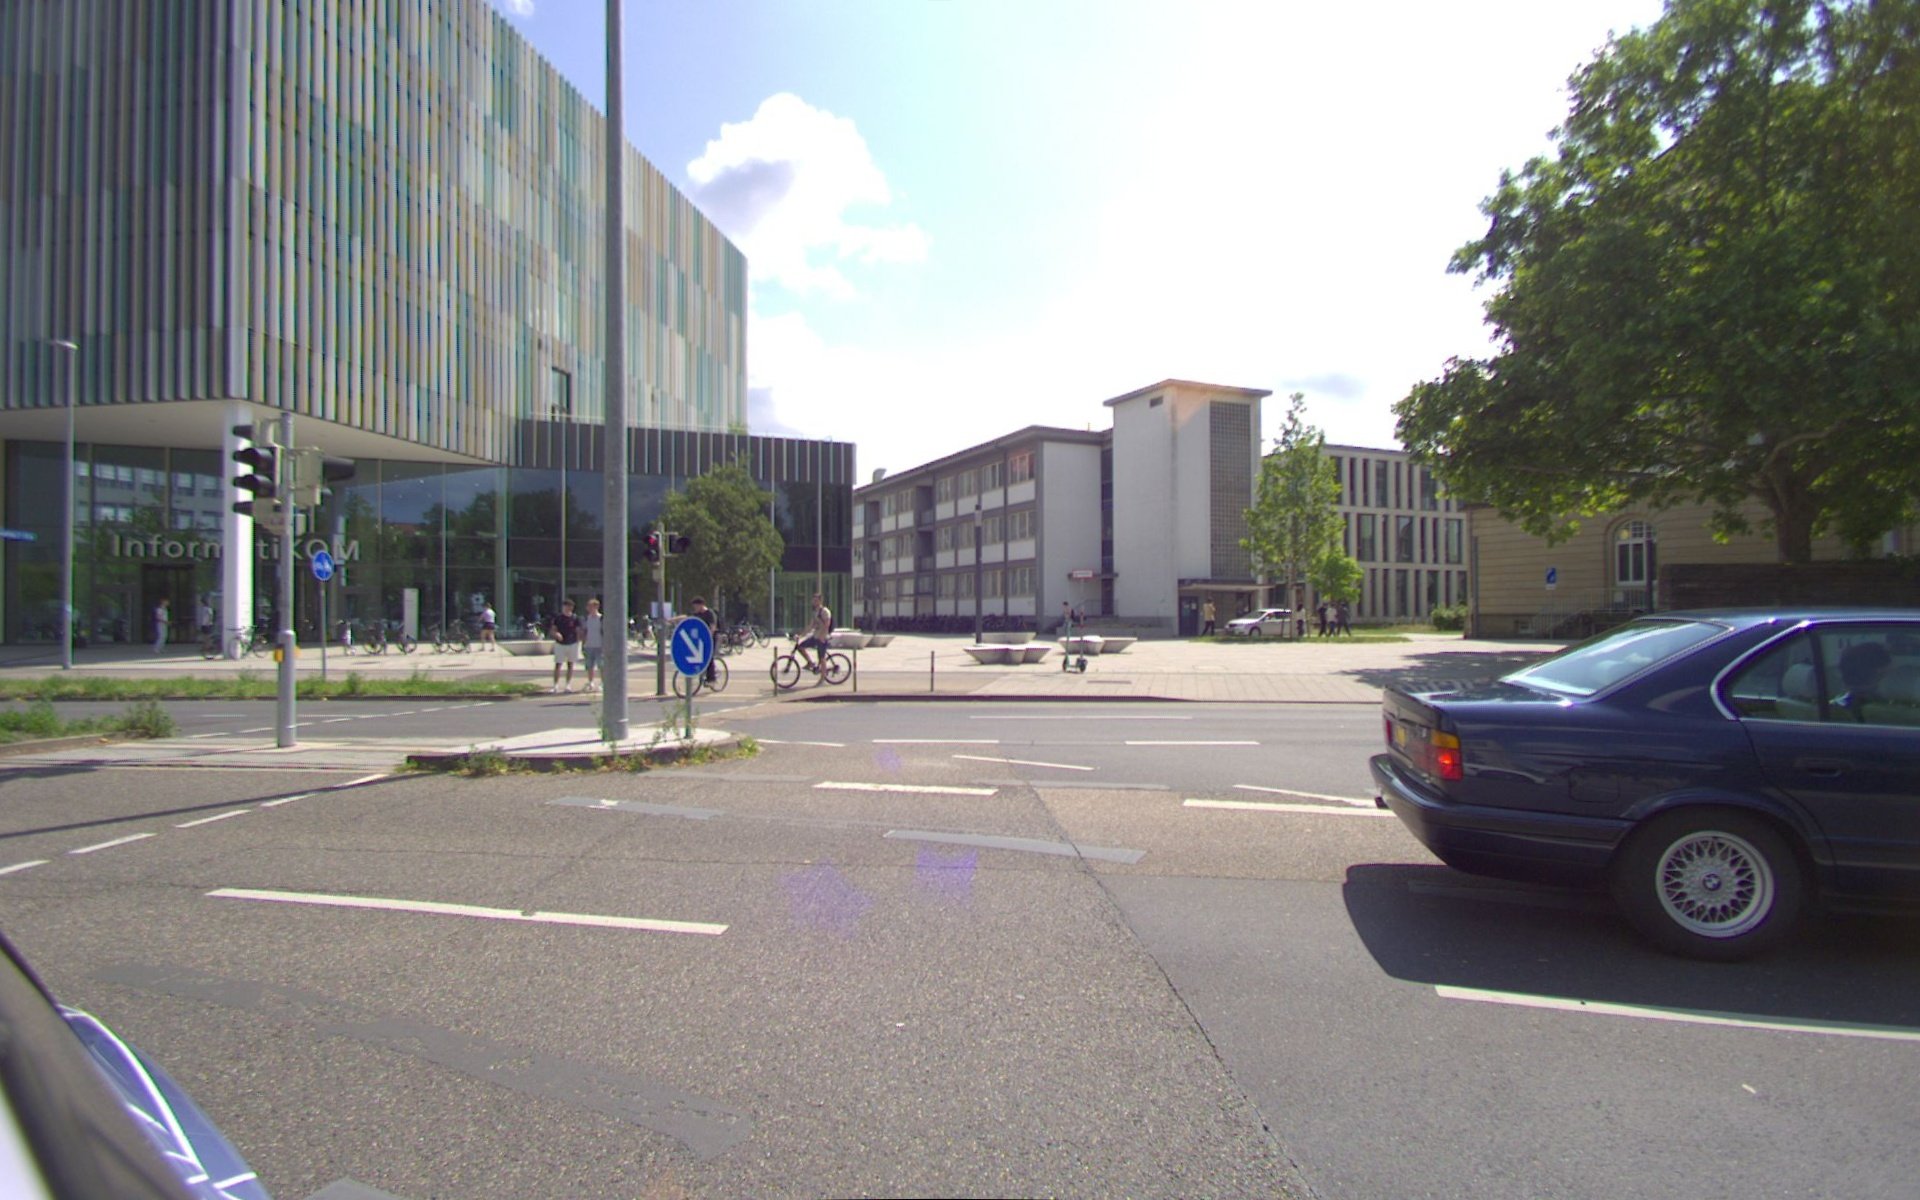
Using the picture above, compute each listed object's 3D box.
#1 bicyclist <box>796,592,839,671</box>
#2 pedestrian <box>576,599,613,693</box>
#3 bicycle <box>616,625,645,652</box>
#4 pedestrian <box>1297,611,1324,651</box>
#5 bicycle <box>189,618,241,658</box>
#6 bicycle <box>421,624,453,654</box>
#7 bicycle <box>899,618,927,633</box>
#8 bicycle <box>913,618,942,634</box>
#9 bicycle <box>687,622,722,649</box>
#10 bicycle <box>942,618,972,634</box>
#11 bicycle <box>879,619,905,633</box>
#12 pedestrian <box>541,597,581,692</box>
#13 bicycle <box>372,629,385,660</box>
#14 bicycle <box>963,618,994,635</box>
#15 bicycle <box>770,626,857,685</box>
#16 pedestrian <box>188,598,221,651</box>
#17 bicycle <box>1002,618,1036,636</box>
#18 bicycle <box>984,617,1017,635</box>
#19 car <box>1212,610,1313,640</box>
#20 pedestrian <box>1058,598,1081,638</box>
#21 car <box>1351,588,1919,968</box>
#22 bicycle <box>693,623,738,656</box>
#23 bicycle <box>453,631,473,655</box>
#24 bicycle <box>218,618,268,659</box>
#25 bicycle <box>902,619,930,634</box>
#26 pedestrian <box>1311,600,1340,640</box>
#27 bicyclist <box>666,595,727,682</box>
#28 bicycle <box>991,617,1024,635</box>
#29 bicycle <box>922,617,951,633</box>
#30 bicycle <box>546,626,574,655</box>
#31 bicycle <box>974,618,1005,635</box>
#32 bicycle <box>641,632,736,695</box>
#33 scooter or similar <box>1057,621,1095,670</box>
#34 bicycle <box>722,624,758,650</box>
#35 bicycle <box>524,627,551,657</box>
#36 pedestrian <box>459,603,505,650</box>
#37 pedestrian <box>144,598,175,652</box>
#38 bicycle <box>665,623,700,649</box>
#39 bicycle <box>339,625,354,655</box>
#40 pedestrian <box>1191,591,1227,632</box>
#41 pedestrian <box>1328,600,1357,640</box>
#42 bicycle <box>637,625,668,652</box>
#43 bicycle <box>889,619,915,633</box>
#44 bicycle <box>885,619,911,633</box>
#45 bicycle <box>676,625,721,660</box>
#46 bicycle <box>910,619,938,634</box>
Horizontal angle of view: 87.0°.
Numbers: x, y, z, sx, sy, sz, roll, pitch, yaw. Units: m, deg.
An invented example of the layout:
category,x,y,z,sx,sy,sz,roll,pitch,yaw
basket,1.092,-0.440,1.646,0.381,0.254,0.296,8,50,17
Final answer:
category,x,y,z,sx,sy,sz,roll,pitch,yaw
bicyclist,-2.893,0.627,20.469,0.772,1.550,0.659,0,-1,-16
pedestrian,-7.253,0.905,20.082,0.568,1.856,0.415,0,0,4
bicycle,-12.450,1.458,38.229,0.520,0.962,1.777,0,0,-37
pedestrian,16.335,1.440,47.150,0.829,1.803,0.817,0,-1,-21
bicycle,-23.538,1.190,32.020,0.369,1.196,1.543,1,0,7
bicycle,-17.978,1.327,34.828,0.520,0.962,1.777,0,0,-11
bicycle,-3.147,1.716,67.868,1.743,0.962,0.531,0,1,-19
bicycle,-2.091,1.658,64.961,1.743,0.962,0.531,0,1,-19
bicycle,-9.803,1.344,38.769,0.521,0.962,1.775,0,0,-43
bicycle,-0.196,1.583,61.585,1.743,0.962,0.531,0,1,-19
bicycle,-4.771,1.816,71.275,1.743,0.962,0.531,0,1,-19
pedestrian,-7.844,0.863,19.897,0.623,1.856,0.480,0,0,-5
bicycle,-19.635,1.484,34.194,0.367,0.962,1.779,0,0,-30
bicycle,1.115,1.538,59.587,1.743,0.962,0.531,0,1,-19
bicycle,-2.960,1.111,20.450,1.643,1.133,0.697,0,-1,-16
pedestrian,-26.926,0.865,36.071,0.672,1.856,0.687,0,0,16
bicycle,3.209,1.450,55.102,1.743,0.962,0.531,0,1,-17
bicycle,2.295,1.476,57.221,1.743,0.962,0.531,0,1,-19
car,14.750,1.191,49.336,4.416,1.316,2.007,-1,1,-23
pedestrian,5.043,0.832,46.692,0.829,1.803,0.679,0,-1,-21
car,4.260,0.647,4.404,4.570,1.397,1.689,-1,0,15
bicycle,-7.418,1.190,30.708,0.521,0.962,1.775,0,0,-43
bicycle,-17.210,1.480,35.061,0.520,0.770,1.779,0,0,-23
bicycle,-22.737,1.201,32.107,0.369,1.196,1.543,1,1,7
bicycle,-2.912,1.770,67.252,1.743,0.962,0.531,0,1,-19
pedestrian,16.774,0.913,46.428,0.829,1.803,0.895,0,-1,-21
bicyclist,-5.094,0.733,19.564,0.982,1.628,0.659,0,-1,-30
bicycle,2.647,1.437,56.294,1.743,0.962,0.531,0,1,-19
bicycle,-1.473,1.568,63.795,1.743,0.962,0.531,0,1,-19
bicycle,-14.517,1.452,36.667,0.520,0.962,1.778,-3,2,-34
bicycle,1.705,1.511,58.394,1.743,0.962,0.531,0,1,-19
bicycle,-5.215,1.195,19.474,1.642,1.133,0.697,0,-1,-30
scooter or similar,2.656,1.023,23.183,0.396,1.075,1.155,0,-1,-18
bicycle,-8.555,1.443,39.297,0.521,0.962,1.775,0,0,-43
bicycle,-15.073,1.480,36.091,0.520,0.962,1.778,0,0,-34
pedestrian,-16.990,0.944,36.012,1.004,1.663,1.179,-1,-1,9
pedestrian,-27.770,0.863,35.107,0.517,1.856,0.777,0,0,43
bicycle,-10.586,1.356,38.565,0.521,0.962,1.775,0,0,-43
bicycle,-20.348,1.310,33.582,0.367,0.962,1.551,0,0,-30
pedestrian,10.340,0.466,41.978,1.290,1.663,1.316,-1,-1,21
pedestrian,17.272,0.889,45.690,0.829,1.803,0.868,0,-1,-21
bicycle,-11.679,1.450,38.409,0.520,0.962,1.777,0,0,-37
bicycle,-3.993,1.767,69.505,1.743,0.962,0.531,0,1,-19
bicycle,-4.286,1.788,70.103,1.743,0.962,0.531,0,1,-19
bicycle,-7.846,1.258,30.306,0.521,0.962,1.775,0,0,-43
bicycle,-2.336,1.742,65.826,1.743,0.962,0.531,0,1,-19
